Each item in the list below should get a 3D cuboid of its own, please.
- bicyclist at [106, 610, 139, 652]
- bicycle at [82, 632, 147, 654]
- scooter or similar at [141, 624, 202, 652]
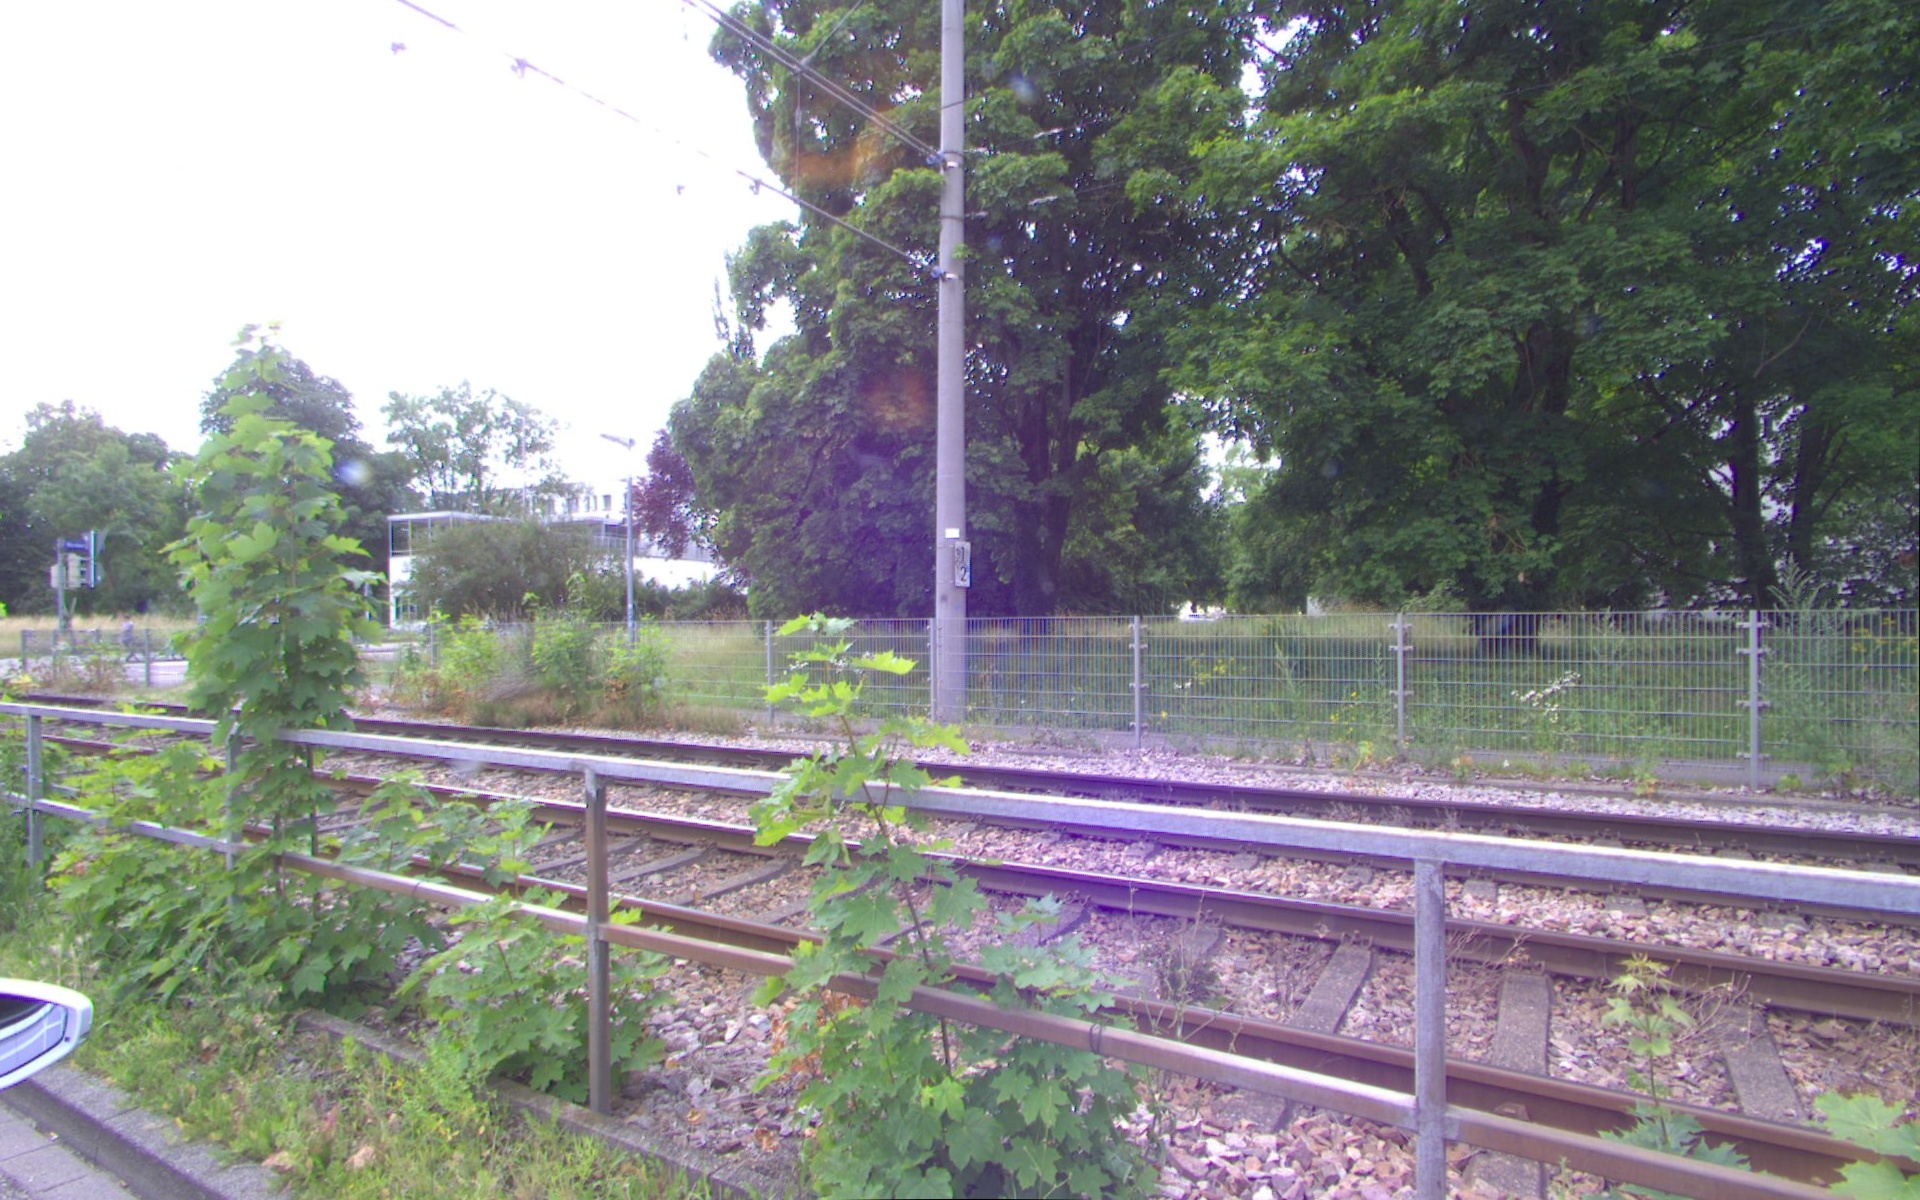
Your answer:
[{"bbox_3d":[-30.529,1.121,36.502,0.449,1.495,0.837,-1,0,34],"label":"bicyclist"},{"bbox_3d":[-30.614,1.562,36.289,0.548,0.775,1.718,-1,-2,34],"label":"bicycle"},{"bbox_3d":[-29.690,1.416,37.712,0.949,0.992,1.570,-1,0,34],"label":"scooter or similar"}]
